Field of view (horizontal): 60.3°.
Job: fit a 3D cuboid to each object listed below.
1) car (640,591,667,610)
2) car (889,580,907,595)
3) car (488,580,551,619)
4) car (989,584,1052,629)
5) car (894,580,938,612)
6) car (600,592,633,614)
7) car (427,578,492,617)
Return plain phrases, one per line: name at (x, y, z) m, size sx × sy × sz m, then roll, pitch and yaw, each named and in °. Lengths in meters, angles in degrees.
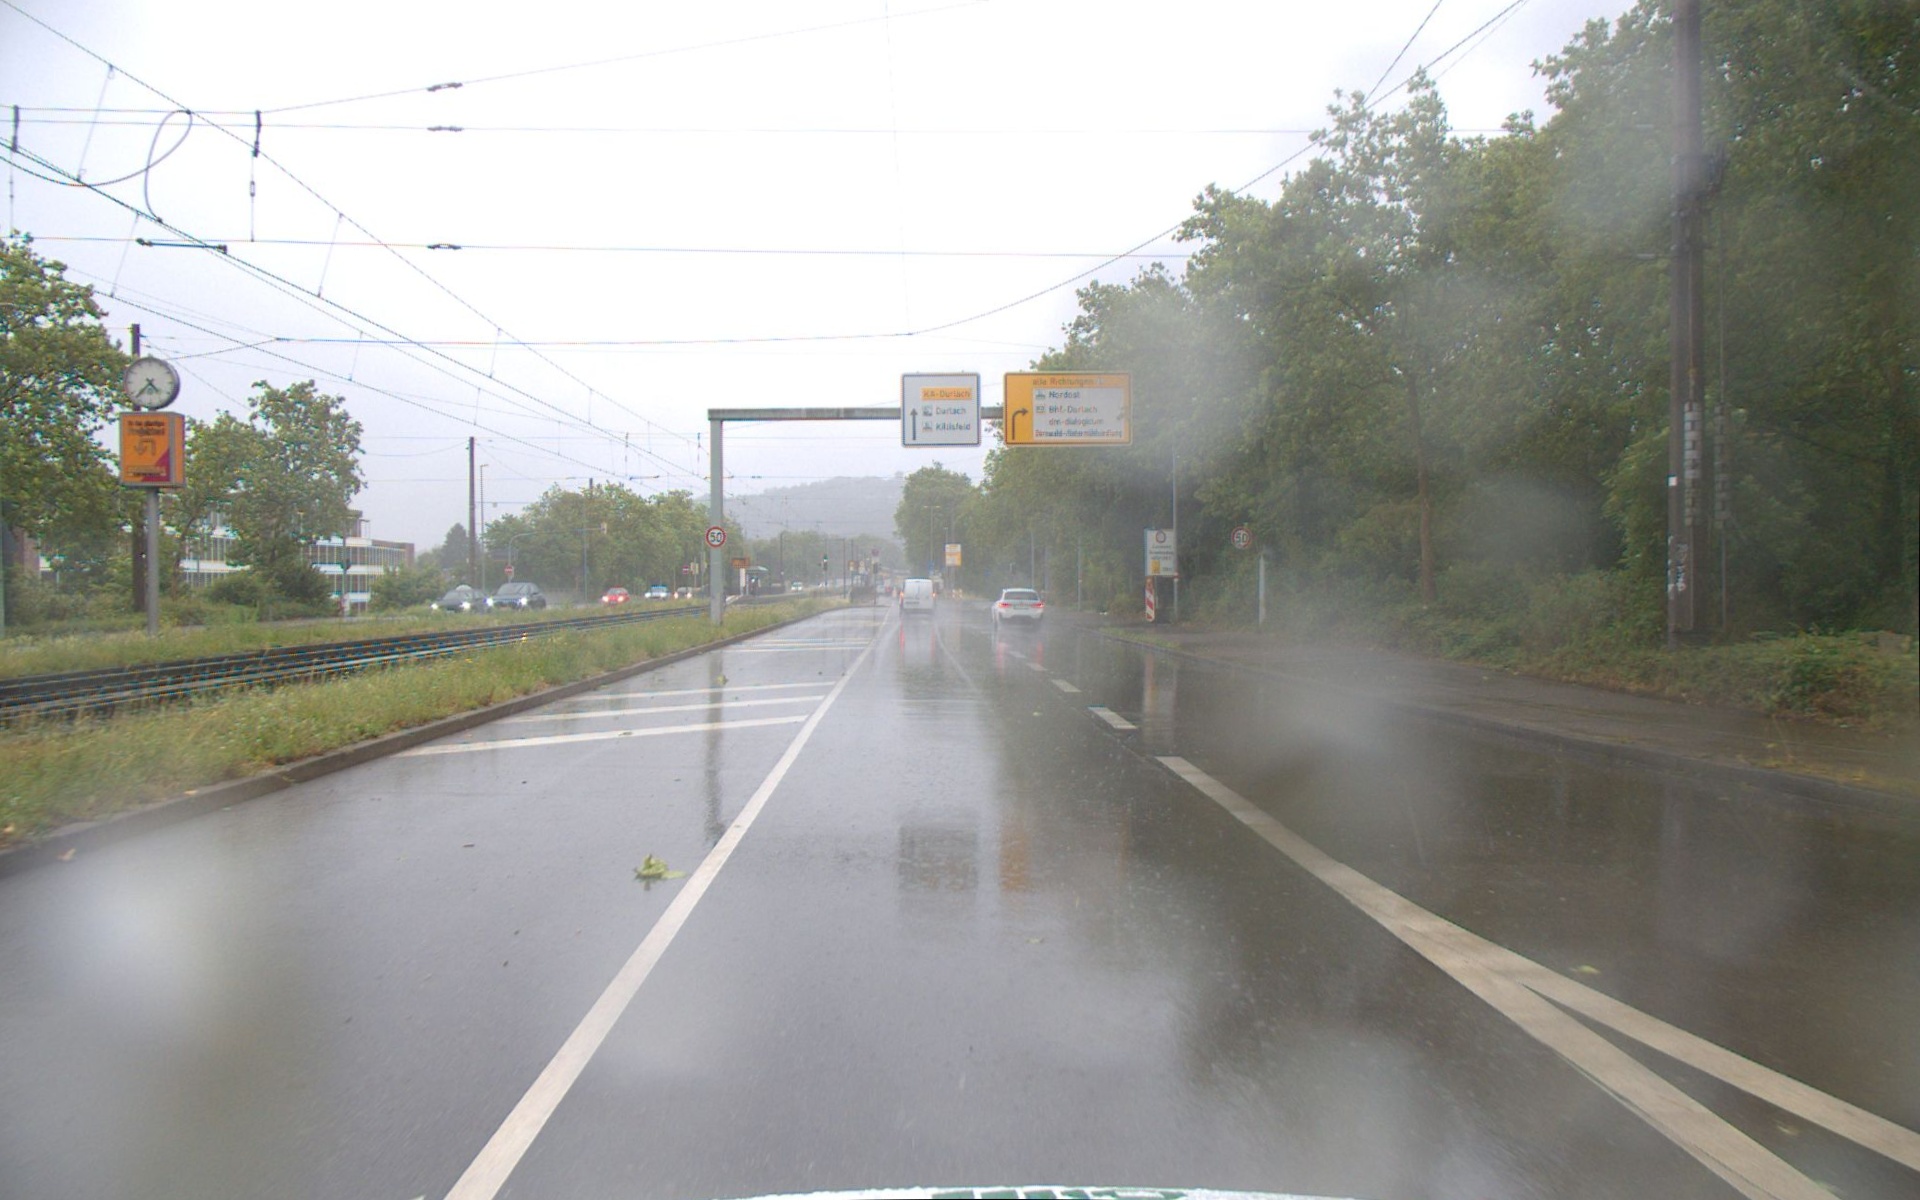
car at (-25.838, 0.016, 139.707) m, size 1.686 × 1.520 × 3.998 m, roll 0°, pitch 0°, yaw -3°
car at (-6.791, -1.370, 181.334) m, size 1.953 × 1.574 × 3.998 m, roll 1°, pitch 1°, yaw -3°
car at (-19.675, -0.054, 74.013) m, size 1.905 × 1.644 × 4.983 m, roll 0°, pitch 1°, yaw -5°
car at (2.149, 0.221, 59.829) m, size 1.909 × 1.563 × 4.464 m, roll 0°, pitch 0°, yaw -3°
car at (-2.074, -0.187, 78.172) m, size 2.035 × 1.445 × 3.999 m, roll 0°, pitch 0°, yaw -2°
car at (-24.820, 0.188, 119.582) m, size 1.686 × 1.520 × 3.998 m, roll 0°, pitch 0°, yaw -3°
car at (-23.074, -0.140, 76.421) m, size 1.905 × 1.716 × 4.776 m, roll 0°, pitch 1°, yaw -5°
